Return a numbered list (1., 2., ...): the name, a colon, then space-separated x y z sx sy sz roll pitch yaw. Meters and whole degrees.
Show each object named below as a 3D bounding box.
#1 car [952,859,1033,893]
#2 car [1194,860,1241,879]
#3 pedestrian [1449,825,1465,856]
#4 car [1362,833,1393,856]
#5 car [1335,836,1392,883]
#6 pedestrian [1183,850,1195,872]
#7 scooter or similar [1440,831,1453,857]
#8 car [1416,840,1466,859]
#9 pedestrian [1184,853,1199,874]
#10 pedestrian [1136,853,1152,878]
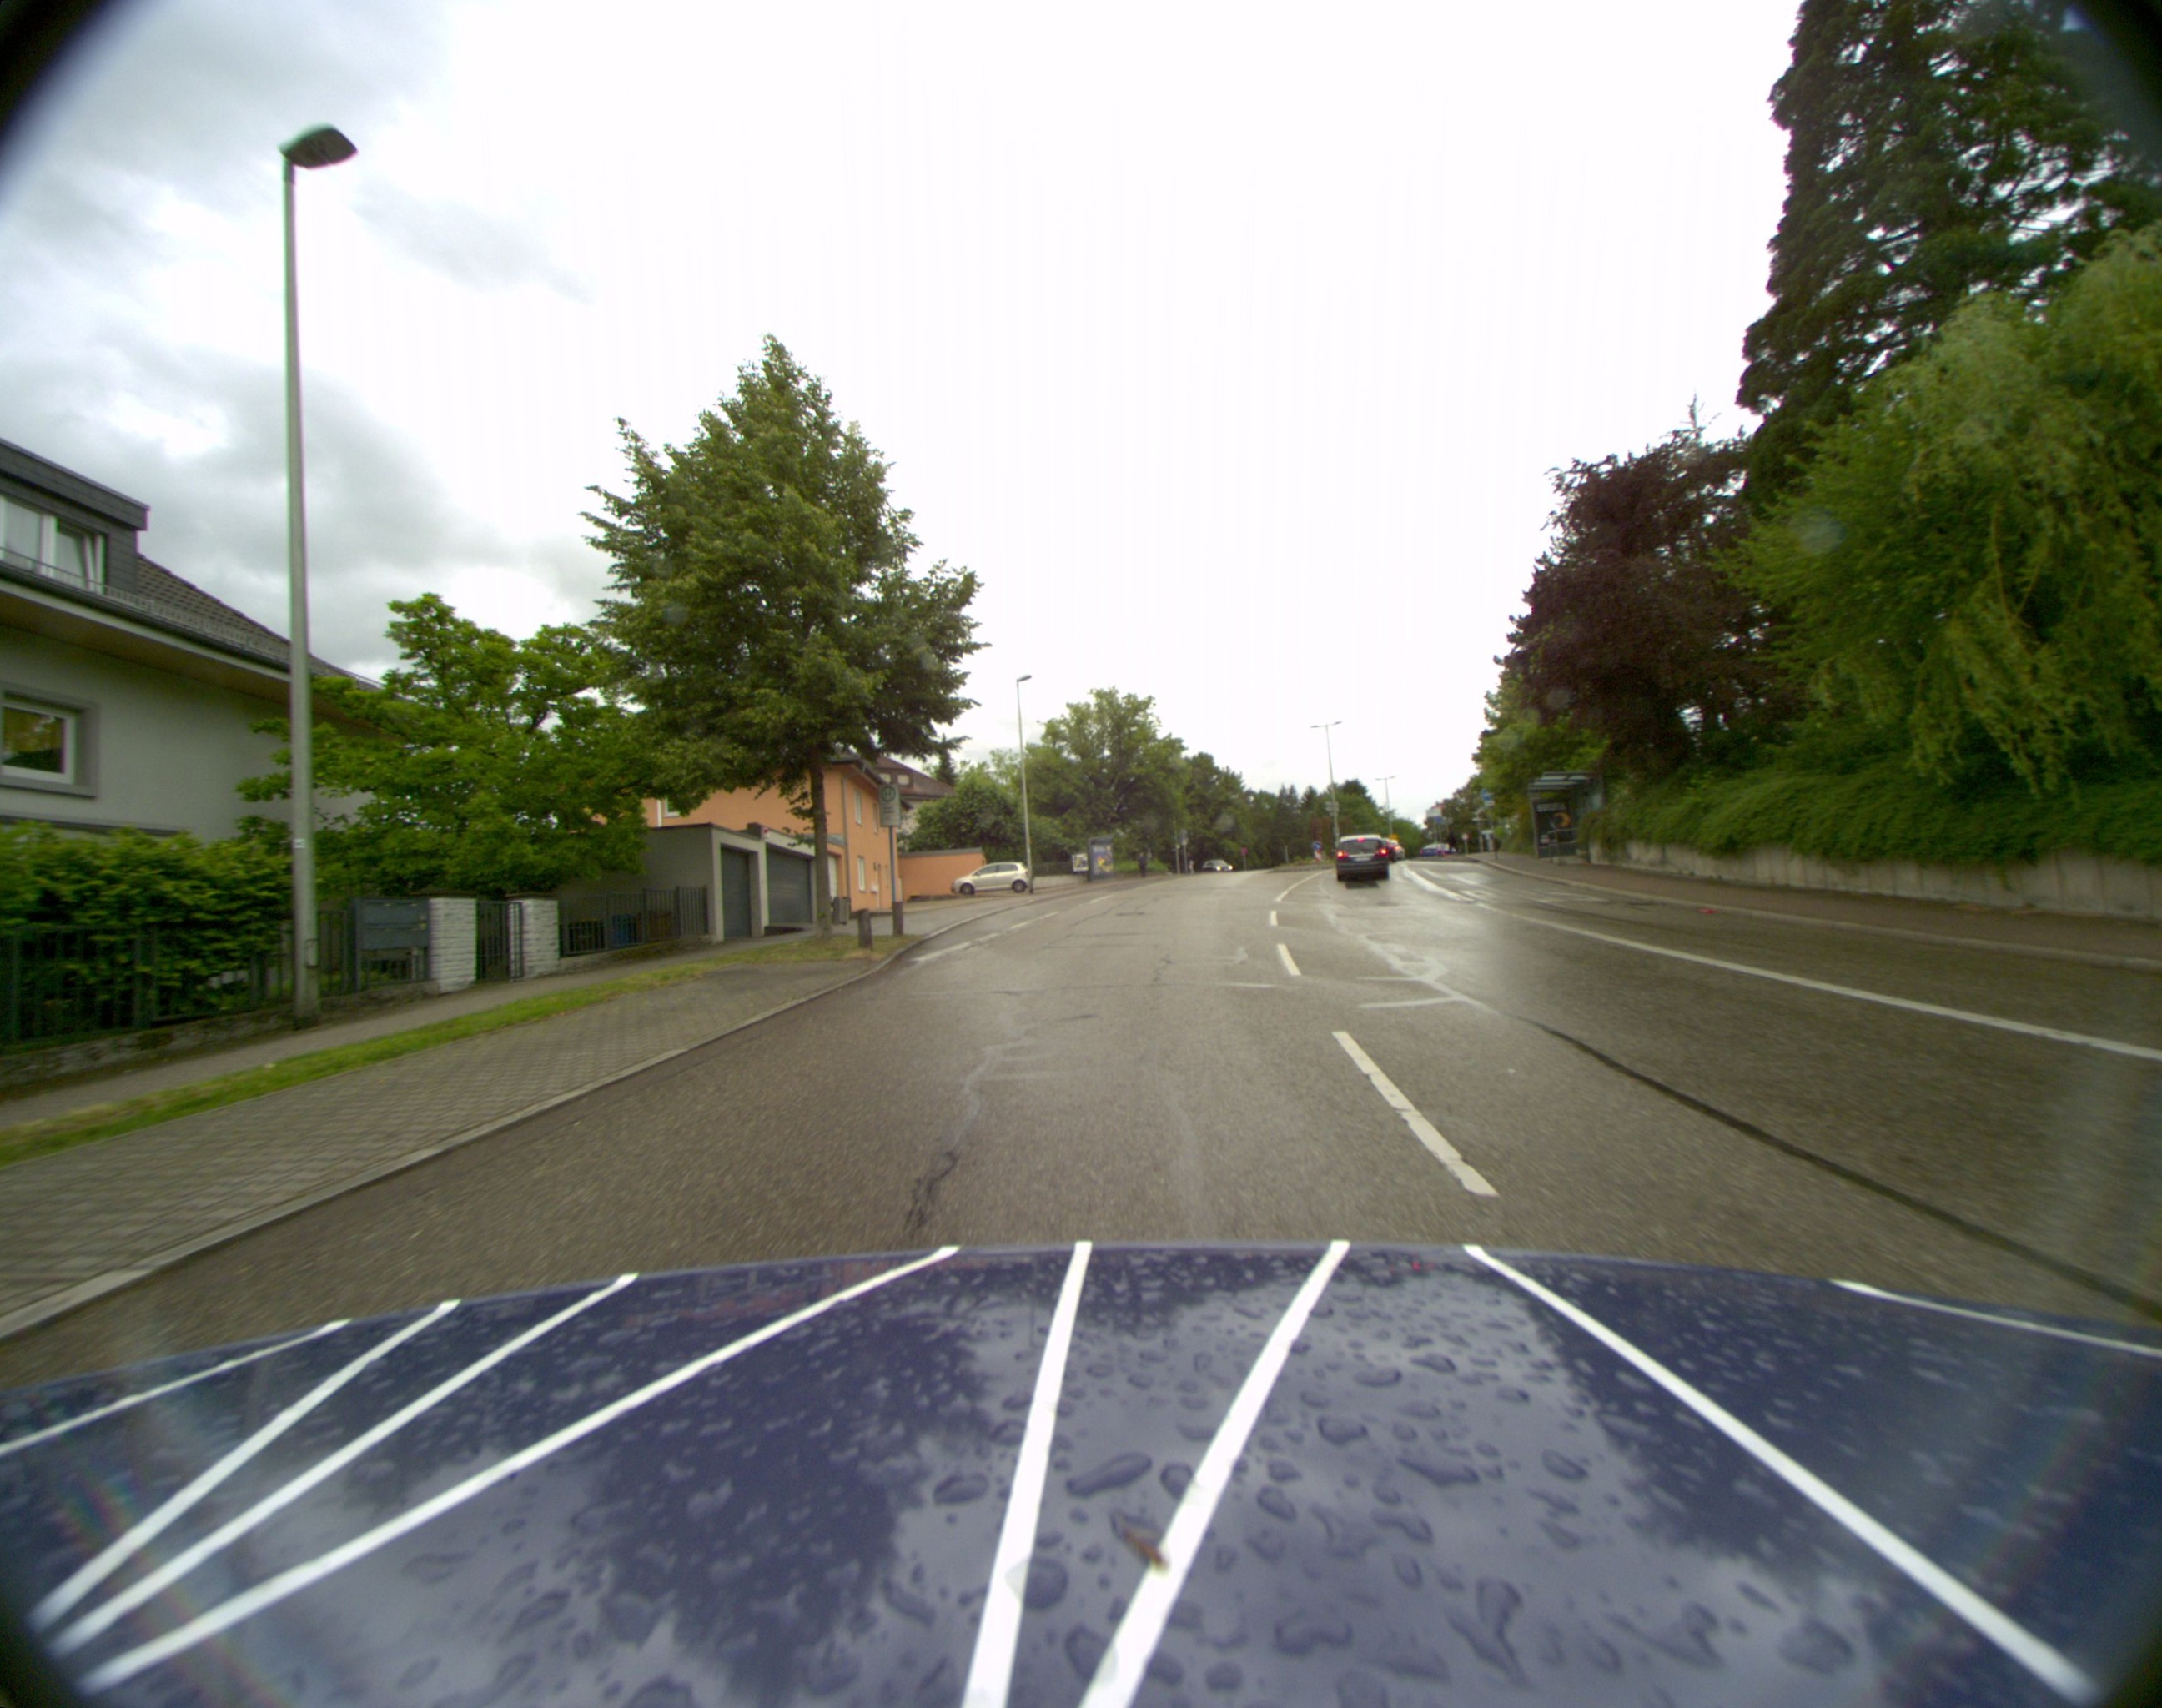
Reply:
1. car: -4.439 1.111 38.517 3.868 1.556 1.727 -2 -1 -3
2. car: 12.597 1.421 70.419 1.866 1.406 4.379 -3 -3 -27
3. pedestrian: 22.913 -0.815 46.305 0.703 1.796 0.827 -4 -1 31
4. car: 20.646 -0.667 52.953 1.830 1.393 4.828 -4 -1 21
5. car: 10.765 0.147 29.086 1.812 1.567 4.692 -4 0 20
6. pedestrian: 8.518 0.558 59.872 0.724 1.722 0.820 -4 -1 18
7. scooter or similar: 22.407 -0.603 46.594 0.509 1.507 1.321 -4 -1 31
8. car: 30.818 -0.393 64.956 4.679 1.428 1.760 -2 -3 -37
9. pedestrian: 8.859 0.756 60.767 0.820 1.645 0.724 -3 -1 -34
10. pedestrian: 4.246 0.780 50.986 0.927 1.645 1.099 -4 -1 7
